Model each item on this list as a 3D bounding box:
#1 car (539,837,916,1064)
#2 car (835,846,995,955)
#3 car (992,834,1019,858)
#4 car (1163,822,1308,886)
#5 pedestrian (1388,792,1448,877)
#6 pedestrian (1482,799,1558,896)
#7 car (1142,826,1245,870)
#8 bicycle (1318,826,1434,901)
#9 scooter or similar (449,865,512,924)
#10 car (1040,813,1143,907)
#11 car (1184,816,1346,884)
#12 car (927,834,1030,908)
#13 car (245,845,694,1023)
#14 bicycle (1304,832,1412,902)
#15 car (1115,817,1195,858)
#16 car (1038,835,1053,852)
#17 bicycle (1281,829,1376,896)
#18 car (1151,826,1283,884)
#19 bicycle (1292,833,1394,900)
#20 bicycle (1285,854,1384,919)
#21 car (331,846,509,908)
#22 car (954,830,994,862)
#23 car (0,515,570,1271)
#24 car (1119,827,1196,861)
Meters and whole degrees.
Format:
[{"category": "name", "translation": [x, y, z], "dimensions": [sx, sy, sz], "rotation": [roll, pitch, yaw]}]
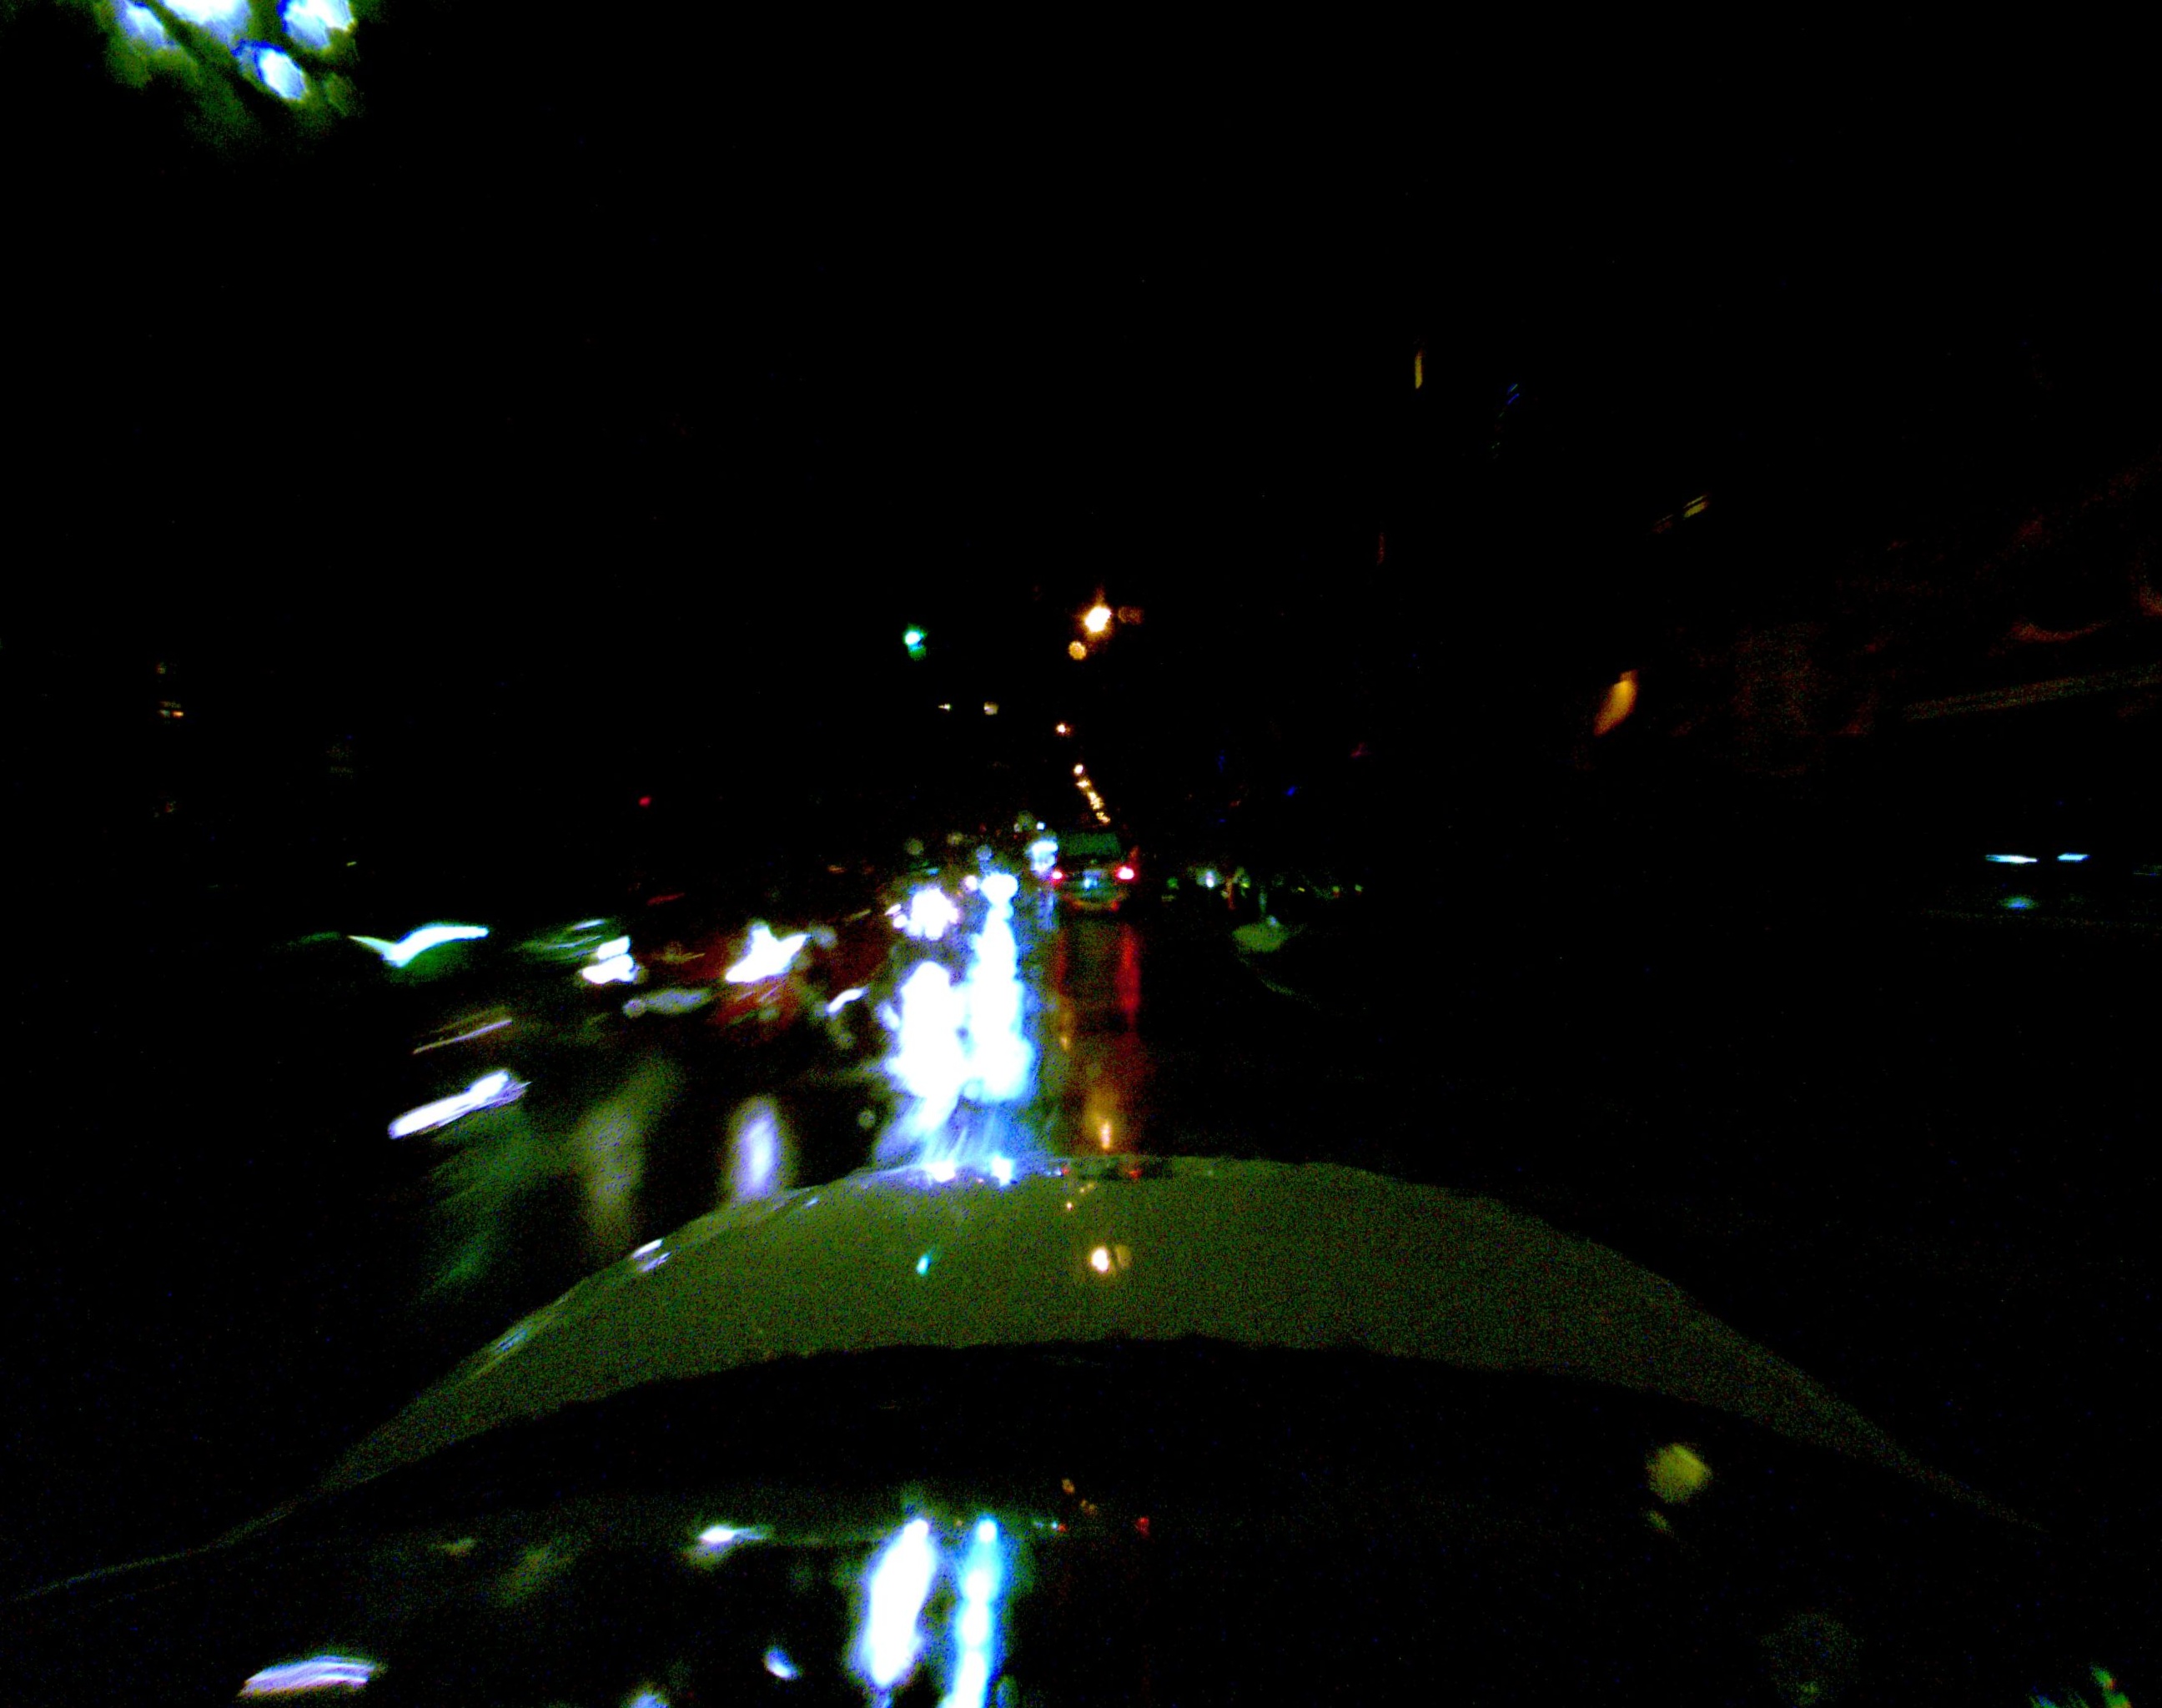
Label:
[{"category": "car", "translation": [-2.925, 0.649, 7.801], "dimensions": [1.662, 1.562, 4.010], "rotation": [-2, 1, 2]}, {"category": "car", "translation": [-2.552, 0.633, 13.505], "dimensions": [1.662, 1.420, 4.099], "rotation": [-2, 1, 1]}, {"category": "car", "translation": [-6.342, -0.690, 68.291], "dimensions": [1.726, 1.971, 3.712], "rotation": [-2, 1, -13]}, {"category": "car", "translation": [4.690, -0.031, 24.436], "dimensions": [4.205, 1.576, 1.861], "rotation": [-5, 2, -36]}, {"category": "pedestrian", "translation": [7.816, -0.446, 18.921], "dimensions": [0.953, 1.881, 1.000], "rotation": [-2, 1, 2]}, {"category": "pedestrian", "translation": [7.647, -0.124, 14.238], "dimensions": [0.778, 1.617, 1.001], "rotation": [-2, 1, 2]}, {"category": "car", "translation": [5.030, -0.307, 36.454], "dimensions": [4.185, 1.645, 1.759], "rotation": [-4, 2, -19]}, {"category": "bicycle", "translation": [5.566, 0.173, 15.418], "dimensions": [1.892, 1.251, 0.710], "rotation": [-4, 1, -3]}, {"category": "scooter or similar", "translation": [-13.621, 0.907, 18.498], "dimensions": [1.081, 1.240, 0.283], "rotation": [-2, 1, -27]}, {"category": "car", "translation": [0.301, 0.084, 19.932], "dimensions": [2.160, 1.971, 4.304], "rotation": [-2, 1, 2]}, {"category": "car", "translation": [4.935, -0.148, 21.578], "dimensions": [4.205, 1.457, 1.837], "rotation": [-5, 2, -36]}, {"category": "car", "translation": [-2.400, 0.318, 20.286], "dimensions": [1.781, 1.554, 4.856], "rotation": [-2, 1, 1]}, {"category": "car", "translation": [-6.440, 0.698, 9.297], "dimensions": [1.754, 1.486, 4.066], "rotation": [-2, 1, 5]}, {"category": "bicycle", "translation": [5.530, 0.256, 16.315], "dimensions": [1.892, 1.251, 0.595], "rotation": [-4, 1, -3]}, {"category": "car", "translation": [4.975, -1.105, 54.412], "dimensions": [5.033, 2.391, 2.116], "rotation": [-5, 2, -36]}, {"category": "car", "translation": [-4.536, -1.372, 103.978], "dimensions": [1.720, 1.971, 4.219], "rotation": [-2, 1, -2]}, {"category": "bicycle", "translation": [5.588, 0.184, 18.422], "dimensions": [1.892, 1.360, 0.595], "rotation": [-4, 1, -3]}, {"category": "car", "translation": [4.575, 0.007, 27.204], "dimensions": [4.201, 1.590, 1.714], "rotation": [-5, 2, -32]}, {"category": "bicycle", "translation": [5.480, 0.254, 17.077], "dimensions": [1.892, 1.251, 0.595], "rotation": [-4, 1, -3]}, {"category": "bicycle", "translation": [5.514, 0.695, 17.757], "dimensions": [1.892, 1.251, 0.595], "rotation": [-4, 1, -3]}, {"category": "car", "translation": [-22.034, 0.705, 27.351], "dimensions": [1.682, 1.700, 4.219], "rotation": [-1, 3, 27]}, {"category": "car", "translation": [-7.137, -0.525, 53.943], "dimensions": [1.995, 1.971, 4.279], "rotation": [-2, 1, -16]}, {"category": "car", "translation": [-3.053, 0.102, 1.551], "dimensions": [1.702, 1.542, 3.985], "rotation": [-2, 1, -2]}, {"category": "car", "translation": [4.385, -0.563, 46.496], "dimensions": [4.205, 1.645, 1.750], "rotation": [-5, 2, -36]}]
